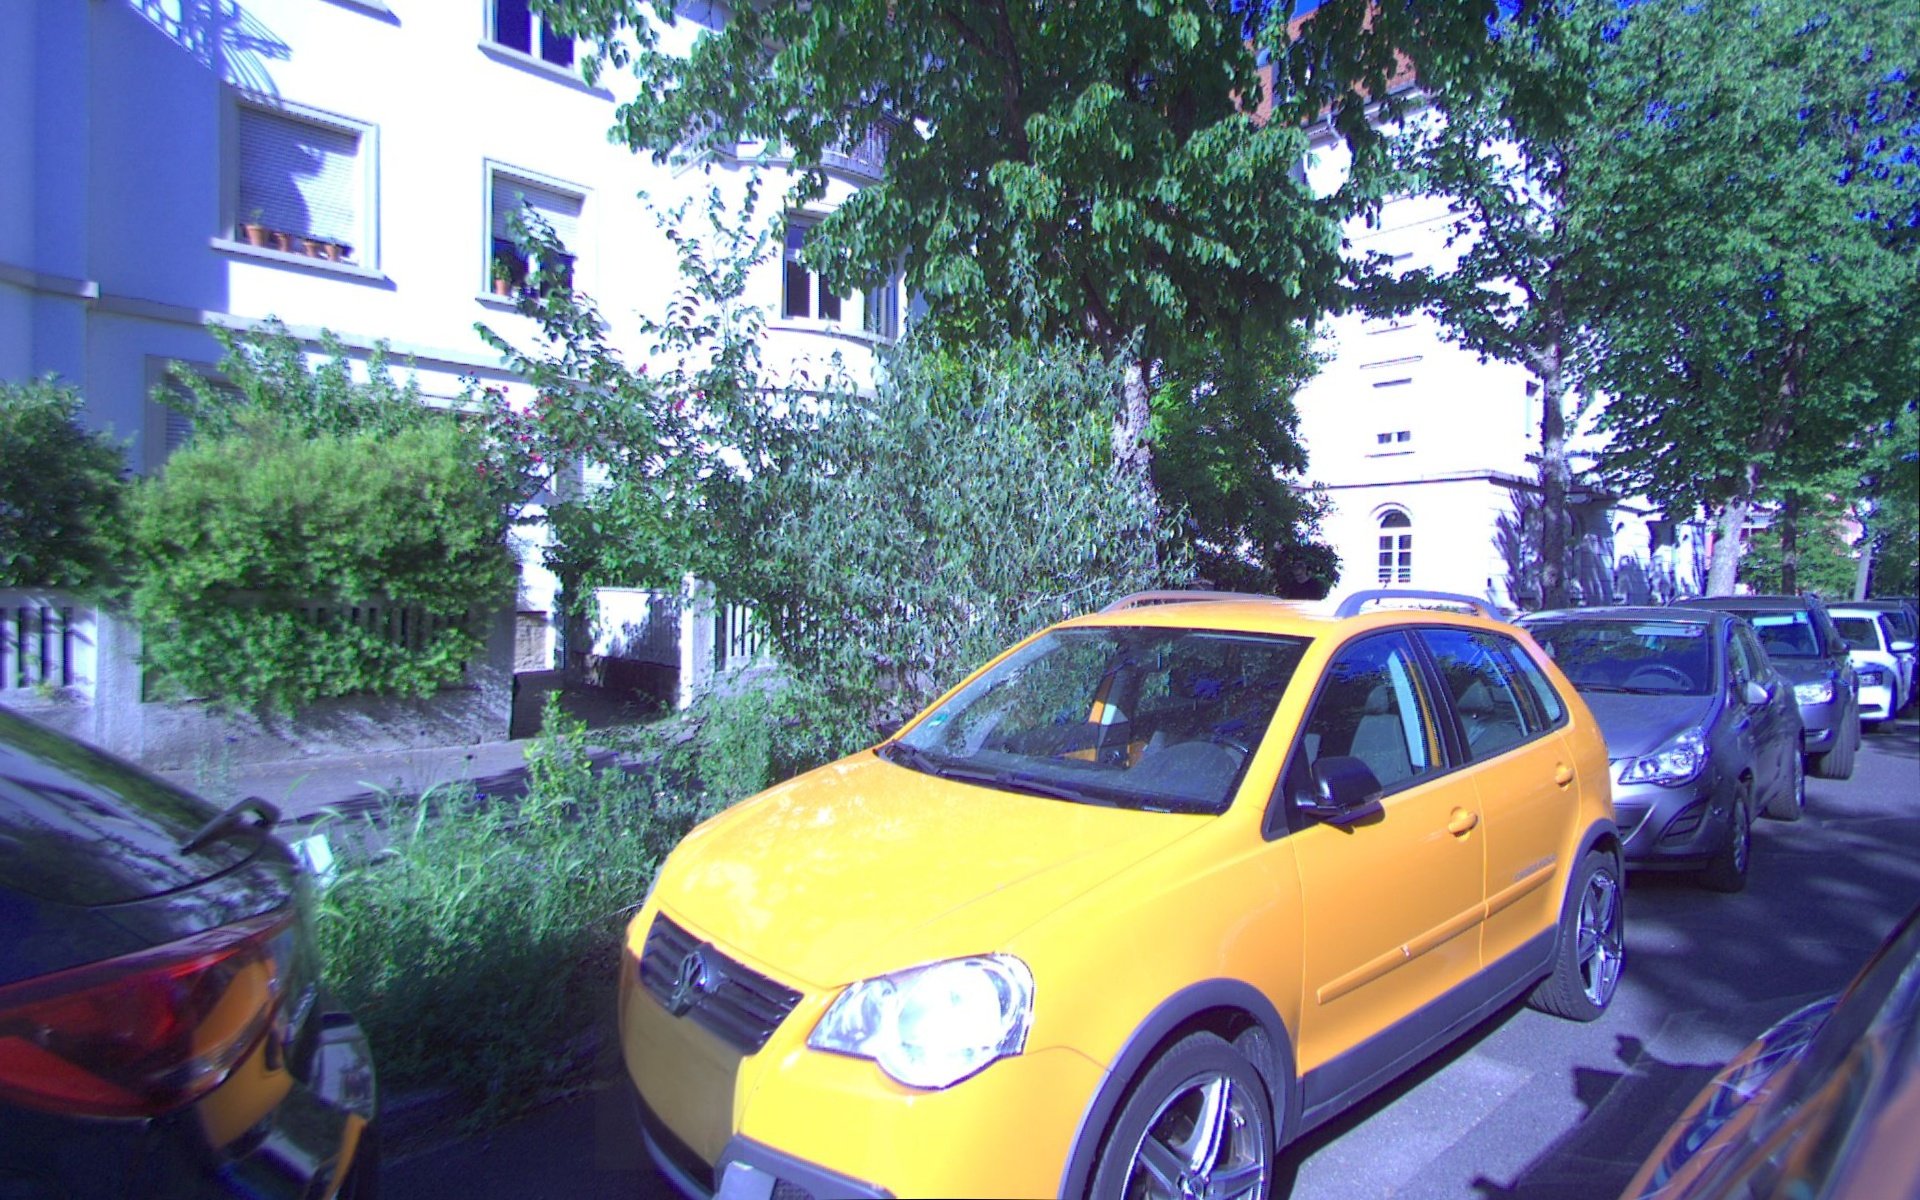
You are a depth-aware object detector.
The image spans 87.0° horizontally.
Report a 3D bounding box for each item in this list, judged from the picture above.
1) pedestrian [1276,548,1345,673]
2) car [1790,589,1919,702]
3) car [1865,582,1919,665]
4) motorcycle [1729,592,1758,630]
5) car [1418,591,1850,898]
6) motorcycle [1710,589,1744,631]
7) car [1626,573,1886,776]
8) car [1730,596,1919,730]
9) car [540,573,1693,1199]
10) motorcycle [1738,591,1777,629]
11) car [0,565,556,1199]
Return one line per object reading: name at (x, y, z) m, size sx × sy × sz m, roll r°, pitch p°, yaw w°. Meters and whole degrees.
pedestrian at (5.197, 0.141, 15.006) m, size 0.786 × 1.797 × 0.623 m, roll 0°, pitch 2°, yaw -42°
car at (14.915, 0.662, 16.403) m, size 4.459 × 1.608 × 1.685 m, roll 0°, pitch -1°, yaw -44°
car at (21.640, 0.507, 22.539) m, size 4.224 × 1.719 × 1.783 m, roll 0°, pitch 1°, yaw -42°
motorcycle at (27.986, 0.363, 36.135) m, size 0.656 × 1.295 × 1.773 m, roll 4°, pitch 3°, yaw 41°
car at (4.619, 0.691, 6.739) m, size 3.552 × 1.446 × 1.651 m, roll 0°, pitch 2°, yaw -44°
motorcycle at (26.243, 0.320, 34.604) m, size 2.053 × 1.378 × 0.540 m, roll 0°, pitch 1°, yaw -42°
car at (8.196, 0.599, 10.294) m, size 1.649 × 1.676 × 3.785 m, roll 1°, pitch 1°, yaw 45°
car at (11.640, 0.692, 13.286) m, size 4.293 × 1.442 × 1.632 m, roll 0°, pitch 2°, yaw -42°
car at (0.944, 0.689, 3.384) m, size 4.029 × 1.473 × 1.639 m, roll 0°, pitch 1°, yaw -42°
motorcycle at (29.402, 0.346, 37.307) m, size 0.970 × 1.345 × 1.824 m, roll 1°, pitch 1°, yaw 43°
car at (-2.577, 0.688, 0.598) m, size 4.011 × 1.467 × 1.703 m, roll 0°, pitch 2°, yaw -42°
